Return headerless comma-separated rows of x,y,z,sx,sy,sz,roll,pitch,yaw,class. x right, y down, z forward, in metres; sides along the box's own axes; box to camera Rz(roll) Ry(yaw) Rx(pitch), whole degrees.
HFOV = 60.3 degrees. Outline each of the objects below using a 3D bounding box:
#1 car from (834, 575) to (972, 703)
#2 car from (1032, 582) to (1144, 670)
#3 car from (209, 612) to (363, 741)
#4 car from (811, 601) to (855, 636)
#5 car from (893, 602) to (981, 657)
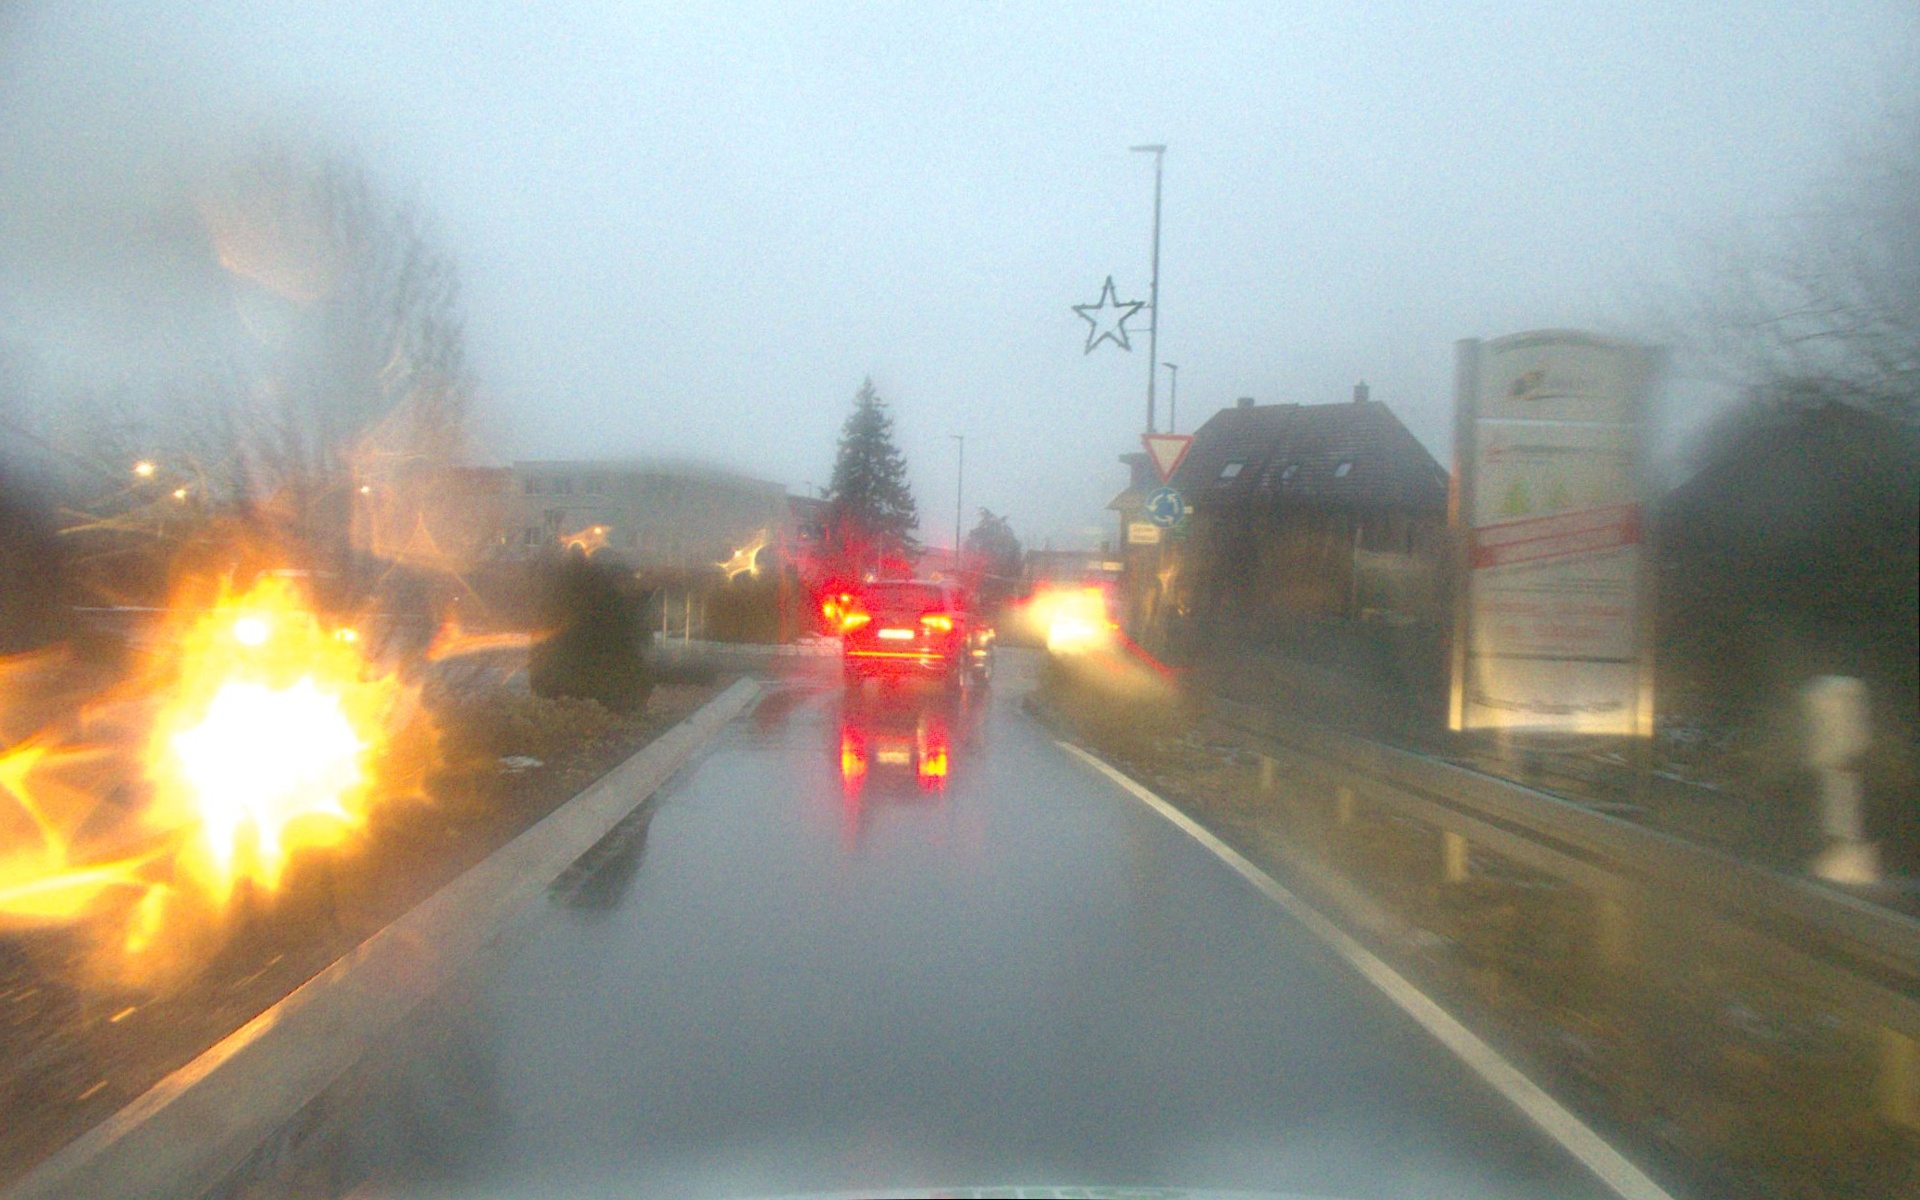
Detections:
-0.811,0.559,25.611,1.905,1.748,4.000,2,0,0,car
2.905,0.512,36.635,2.117,1.719,4.575,2,1,8,car
-8.869,0.955,21.988,1.582,1.495,3.667,1,0,-18,car
-5.991,0.877,77.826,1.740,1.571,3.992,1,-1,-9,car
-0.783,0.970,53.311,1.850,1.643,4.554,2,-2,-14,car
